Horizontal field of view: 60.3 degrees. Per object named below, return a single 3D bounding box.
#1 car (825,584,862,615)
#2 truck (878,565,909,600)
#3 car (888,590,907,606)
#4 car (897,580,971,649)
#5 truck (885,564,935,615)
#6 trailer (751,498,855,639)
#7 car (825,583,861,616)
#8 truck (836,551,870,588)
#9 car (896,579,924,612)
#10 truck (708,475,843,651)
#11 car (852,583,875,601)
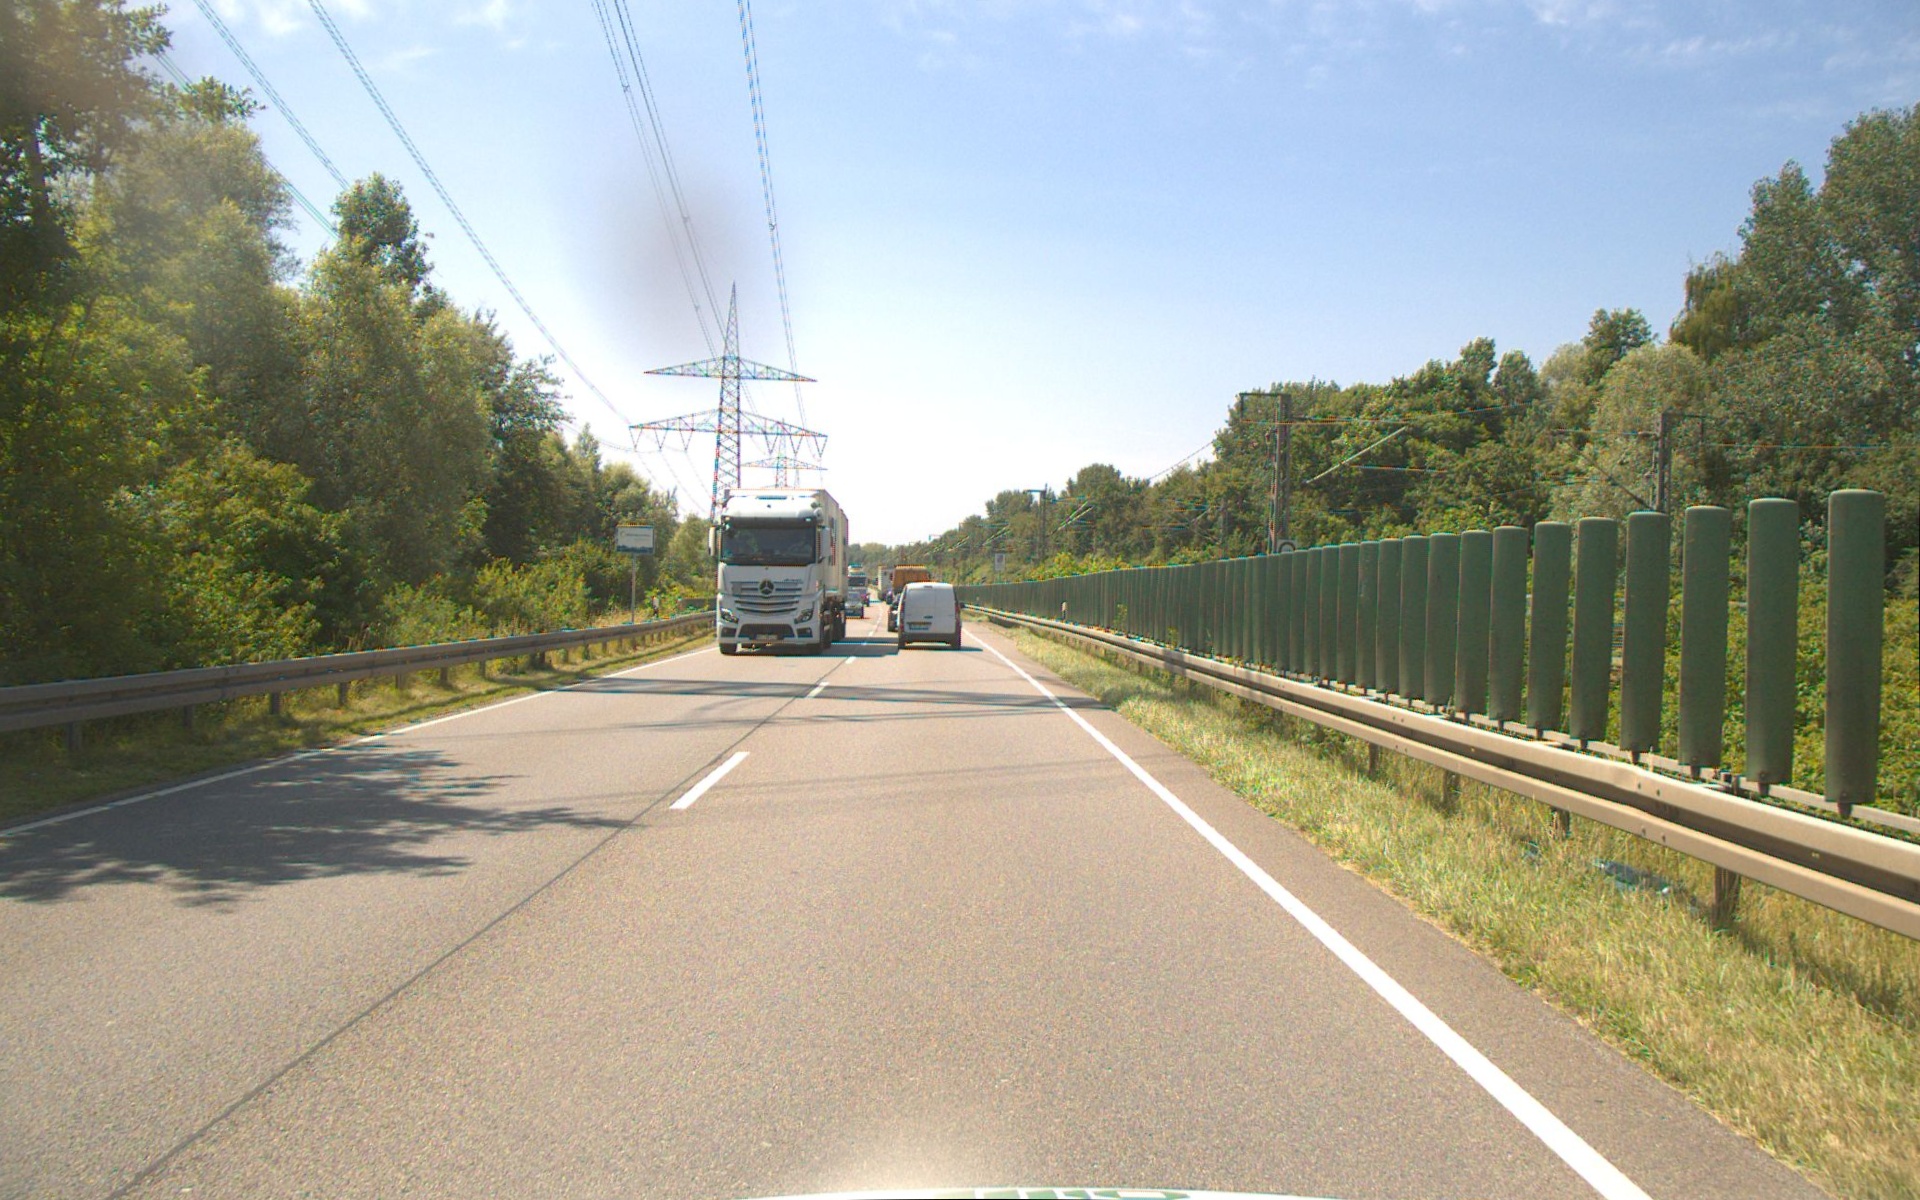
[{"bbox_3d":[-6.730,-0.039,95.809,1.953,1.772,3.999,1,0,-2],"label":"car"},{"bbox_3d":[-8.305,-2.240,203.237,3.335,3.921,16.809,4,1,-3],"label":"truck"},{"bbox_3d":[-6.434,-0.209,171.045,1.953,1.553,3.999,1,0,-2],"label":"car"},{"bbox_3d":[-0.769,0.363,46.018,1.838,1.772,3.998,2,0,-3],"label":"car"},{"bbox_3d":[-3.725,-0.877,120.538,3.231,3.226,14.400,4,1,-2],"label":"truck"},{"bbox_3d":[-4.884,-0.954,53.038,2.664,4.113,9.072,0,0,-1],"label":"trailer"},{"bbox_3d":[-6.736,-0.049,95.785,1.954,1.772,3.998,2,0,-3],"label":"car"},{"bbox_3d":[-12.544,-3.650,195.365,3.334,3.921,16.812,4,1,-2],"label":"truck"},{"bbox_3d":[-3.312,-0.307,109.098,1.728,2.048,3.998,3,0,-2],"label":"car"},{"bbox_3d":[-4.665,-0.903,43.636,2.687,4.113,9.662,0,0,-1],"label":"truck"},{"bbox_3d":[-8.769,-0.742,151.087,1.953,1.553,3.999,1,0,-2],"label":"car"}]
